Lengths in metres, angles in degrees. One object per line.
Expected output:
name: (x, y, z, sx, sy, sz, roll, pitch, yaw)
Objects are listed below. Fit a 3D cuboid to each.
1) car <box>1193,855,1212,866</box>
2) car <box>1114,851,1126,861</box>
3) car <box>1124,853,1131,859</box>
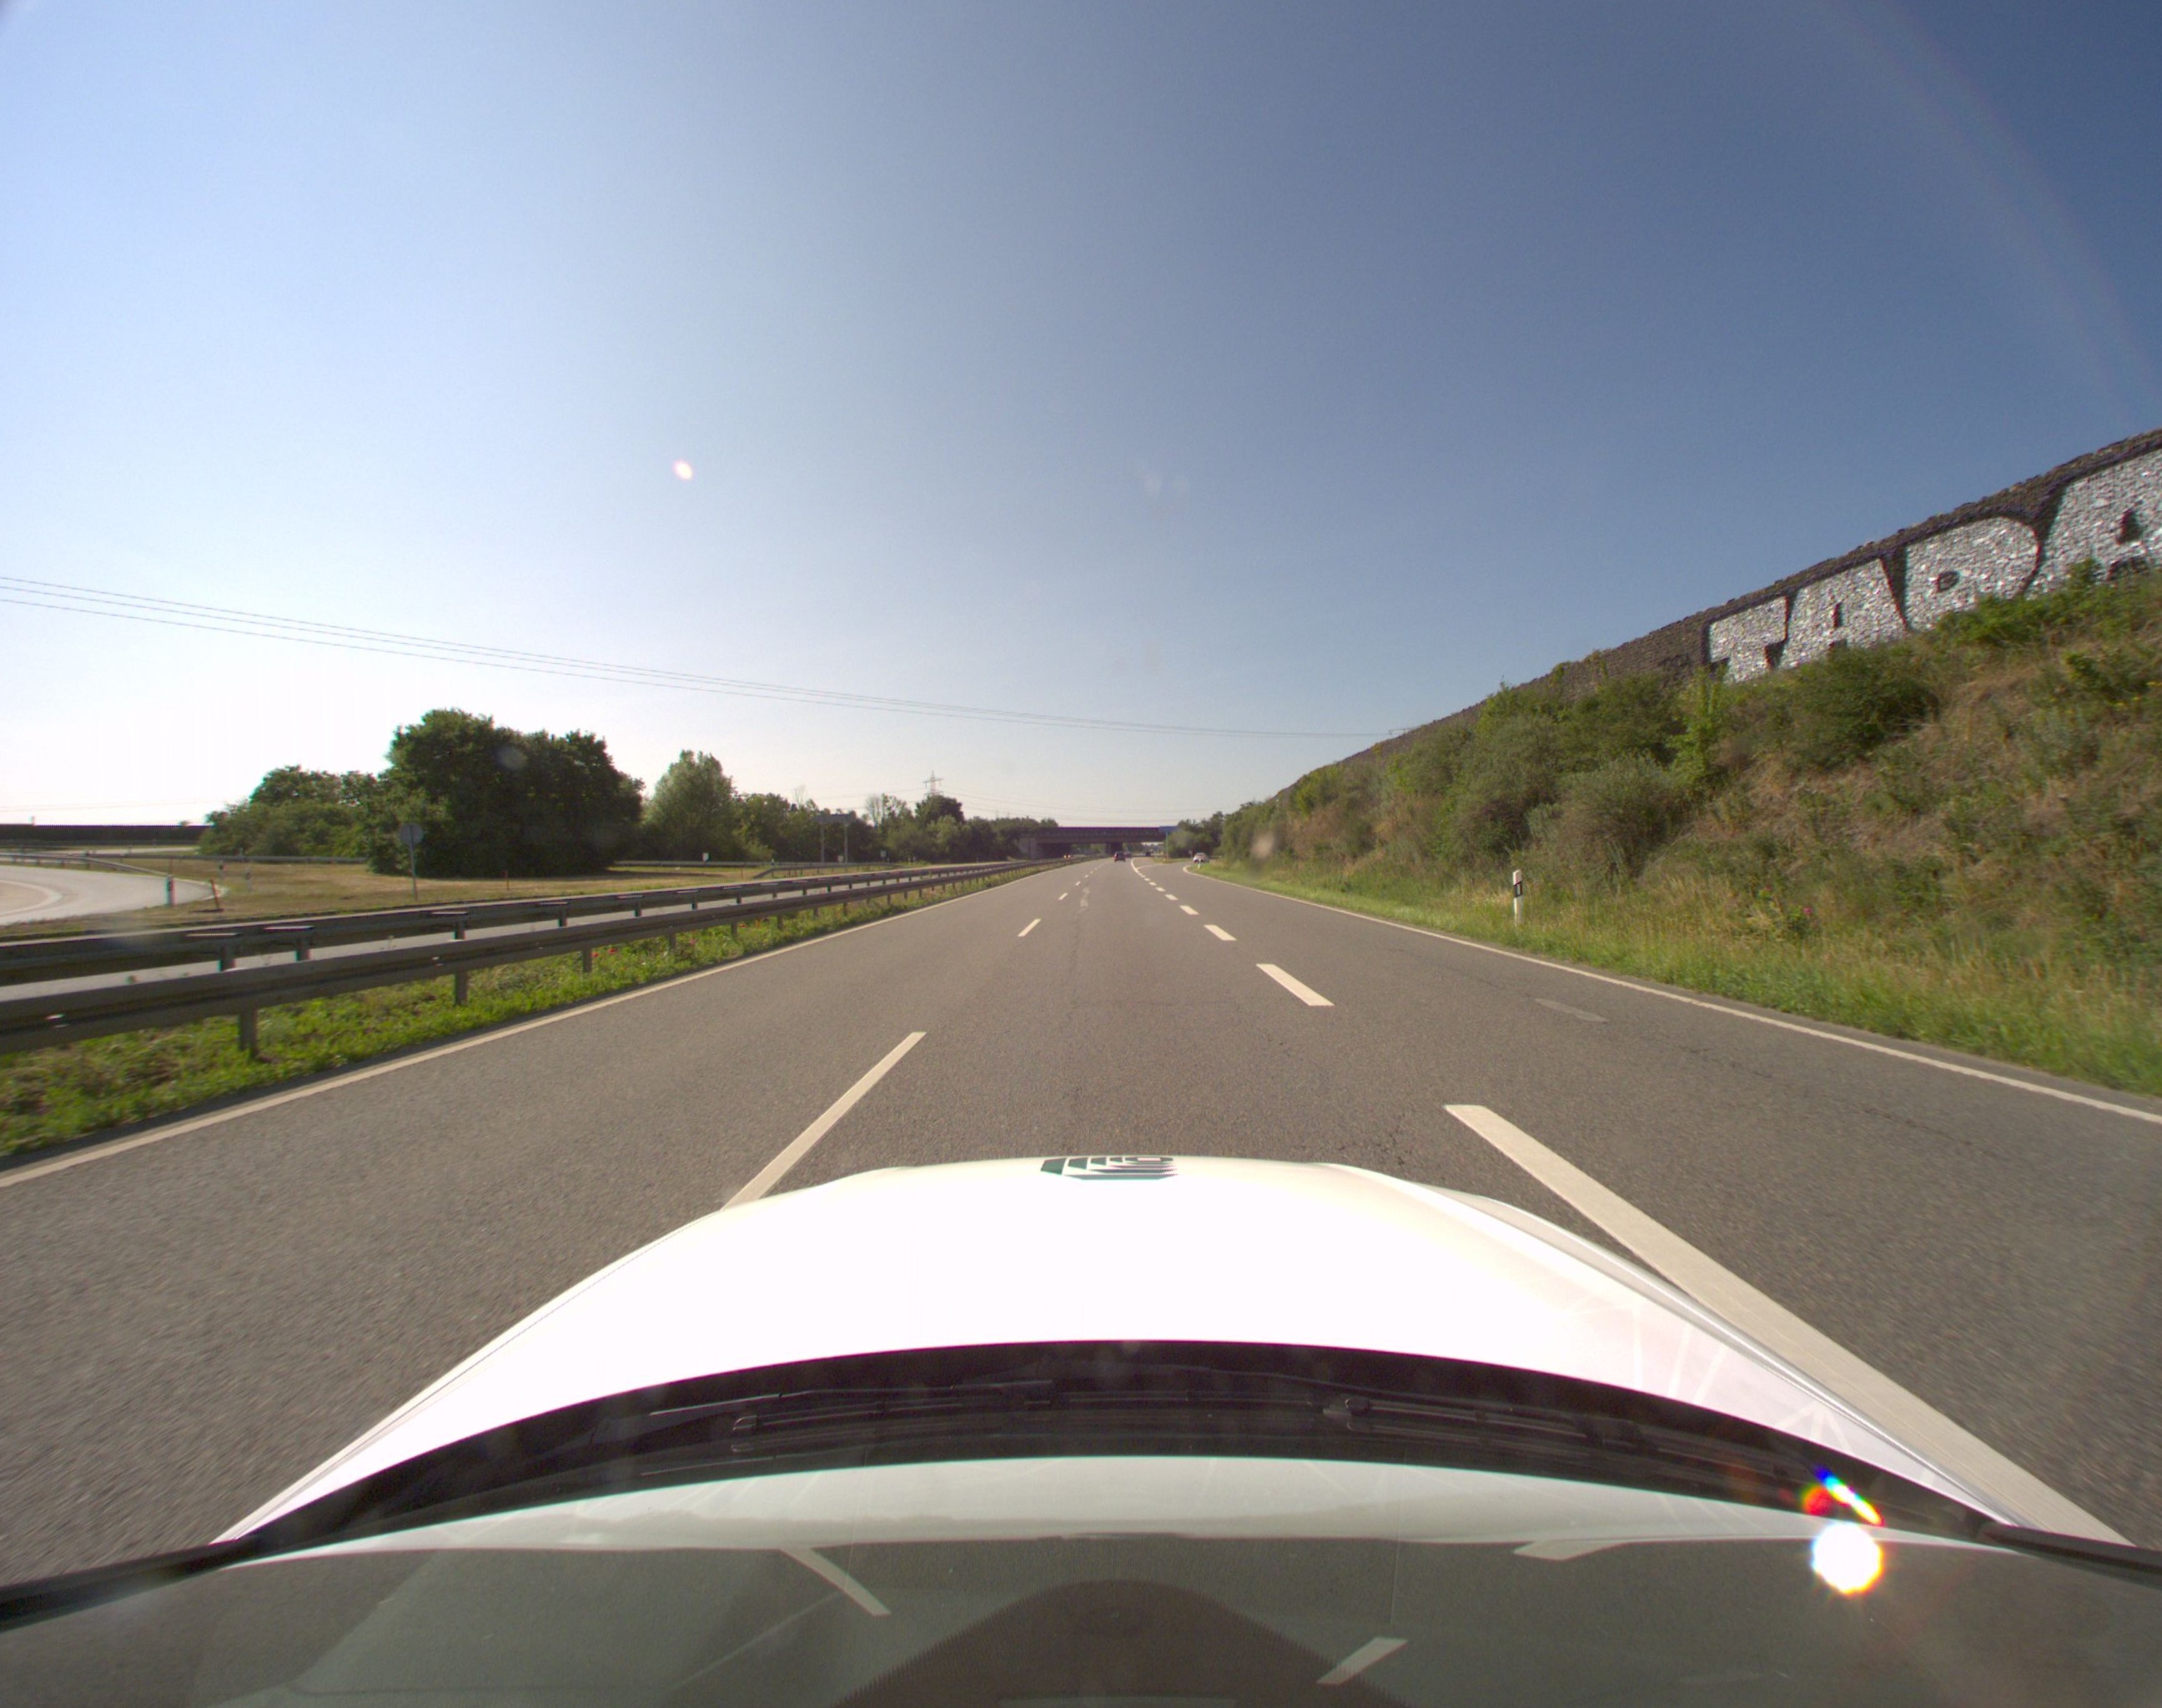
car: (18.405, 0.988, 122.958, 1.780, 1.665, 4.022, 2, 1, 24)
car: (6.603, 0.388, 136.722, 1.841, 1.644, 4.005, 0, 0, 4)
car: (12.073, 0.497, 210.756, 1.841, 1.644, 4.005, 0, 0, 4)
